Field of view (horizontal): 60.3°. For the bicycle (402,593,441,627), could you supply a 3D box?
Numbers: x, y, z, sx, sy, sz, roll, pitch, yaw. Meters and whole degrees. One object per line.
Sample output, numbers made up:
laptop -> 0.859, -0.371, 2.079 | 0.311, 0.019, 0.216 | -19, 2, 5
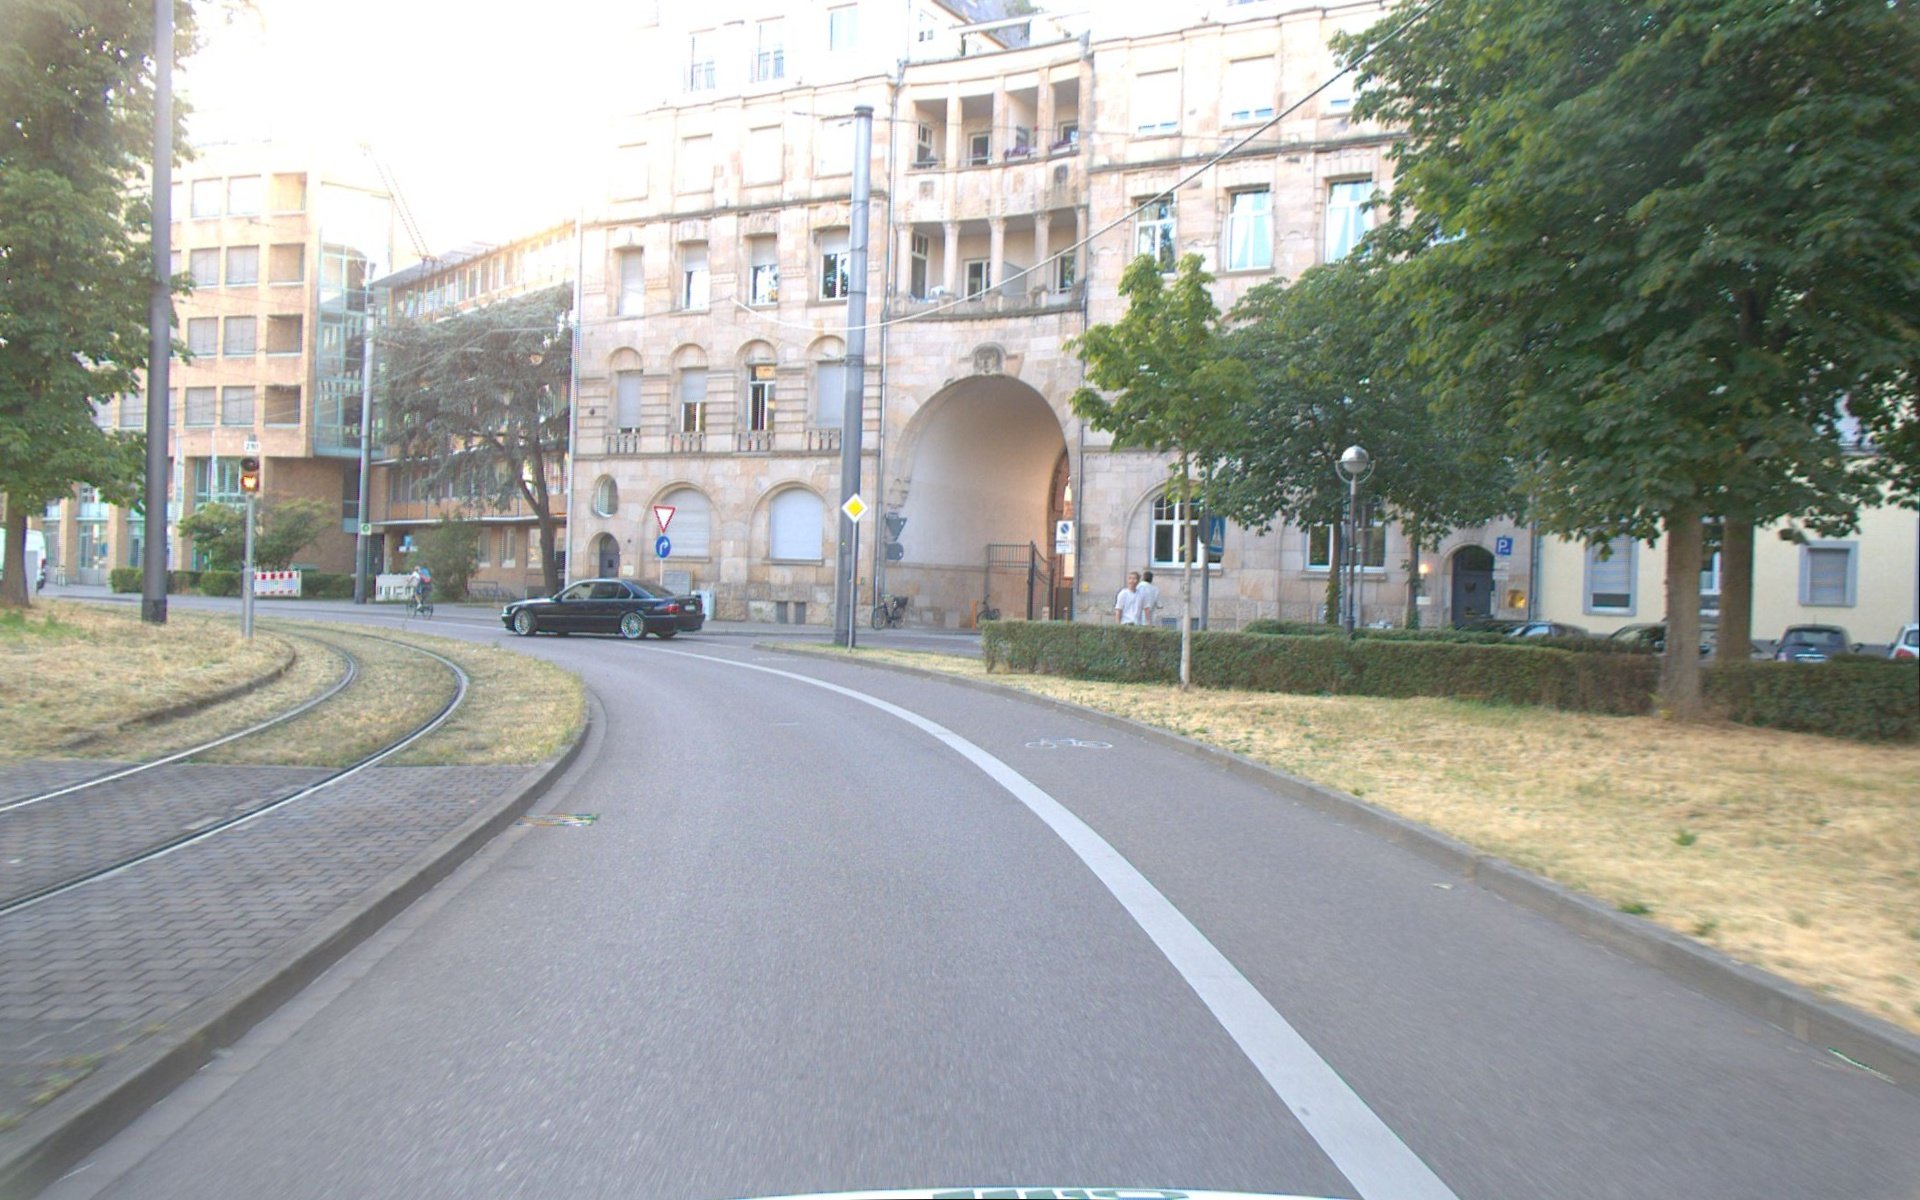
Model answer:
bicycle -> -16.436, 0.296, 50.476 | 0.511, 0.971, 1.751 | 4, -1, -38

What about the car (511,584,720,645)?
car -> -8.163, 0.316, 39.304 | 4.527, 1.378, 1.837 | 0, 0, 15

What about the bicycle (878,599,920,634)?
bicycle -> -1.943, 0.517, 52.814 | 0.420, 1.091, 1.853 | 2, 1, 29

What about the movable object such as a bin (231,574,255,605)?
movable object such as a bin -> -34.819, -0.514, 80.328 | 0.956, 1.462, 1.338 | 2, 1, -19

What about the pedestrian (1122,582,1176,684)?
pedestrian -> 3.462, 0.596, 30.304 | 0.583, 1.823, 0.814 | 1, 1, -27

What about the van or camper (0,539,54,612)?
van or camper -> -36.464, -0.993, 62.754 | 4.421, 2.670, 2.258 | 3, 1, 41

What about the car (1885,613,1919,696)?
car -> 20.240, 1.105, 34.081 | 1.799, 1.597, 4.058 | 2, 1, 32

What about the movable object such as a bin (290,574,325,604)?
movable object such as a bin -> -32.237, -0.548, 81.730 | 0.909, 1.449, 1.335 | 3, 1, 44

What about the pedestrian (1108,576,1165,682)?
pedestrian -> 2.992, 0.482, 28.111 | 0.752, 1.745, 0.784 | 2, 1, -8

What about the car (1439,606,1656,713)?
car -> 9.871, 0.947, 27.649 | 1.835, 1.584, 4.038 | 3, 1, 45

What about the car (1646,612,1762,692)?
car -> 16.723, 1.110, 37.071 | 1.798, 1.585, 4.389 | 2, 1, 31

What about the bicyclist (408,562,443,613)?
bicyclist -> -16.279, -0.379, 50.325 | 0.650, 1.509, 1.024 | 4, -2, -37

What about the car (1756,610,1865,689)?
car -> 18.401, 1.010, 35.705 | 1.798, 1.511, 4.059 | 2, 1, 31

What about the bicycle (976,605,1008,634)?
bicycle -> 1.128, 0.676, 58.057 | 0.471, 0.972, 1.510 | 2, 1, 29

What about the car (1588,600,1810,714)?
car -> 11.628, 0.845, 25.924 | 1.835, 1.584, 4.038 | 3, 1, 45
